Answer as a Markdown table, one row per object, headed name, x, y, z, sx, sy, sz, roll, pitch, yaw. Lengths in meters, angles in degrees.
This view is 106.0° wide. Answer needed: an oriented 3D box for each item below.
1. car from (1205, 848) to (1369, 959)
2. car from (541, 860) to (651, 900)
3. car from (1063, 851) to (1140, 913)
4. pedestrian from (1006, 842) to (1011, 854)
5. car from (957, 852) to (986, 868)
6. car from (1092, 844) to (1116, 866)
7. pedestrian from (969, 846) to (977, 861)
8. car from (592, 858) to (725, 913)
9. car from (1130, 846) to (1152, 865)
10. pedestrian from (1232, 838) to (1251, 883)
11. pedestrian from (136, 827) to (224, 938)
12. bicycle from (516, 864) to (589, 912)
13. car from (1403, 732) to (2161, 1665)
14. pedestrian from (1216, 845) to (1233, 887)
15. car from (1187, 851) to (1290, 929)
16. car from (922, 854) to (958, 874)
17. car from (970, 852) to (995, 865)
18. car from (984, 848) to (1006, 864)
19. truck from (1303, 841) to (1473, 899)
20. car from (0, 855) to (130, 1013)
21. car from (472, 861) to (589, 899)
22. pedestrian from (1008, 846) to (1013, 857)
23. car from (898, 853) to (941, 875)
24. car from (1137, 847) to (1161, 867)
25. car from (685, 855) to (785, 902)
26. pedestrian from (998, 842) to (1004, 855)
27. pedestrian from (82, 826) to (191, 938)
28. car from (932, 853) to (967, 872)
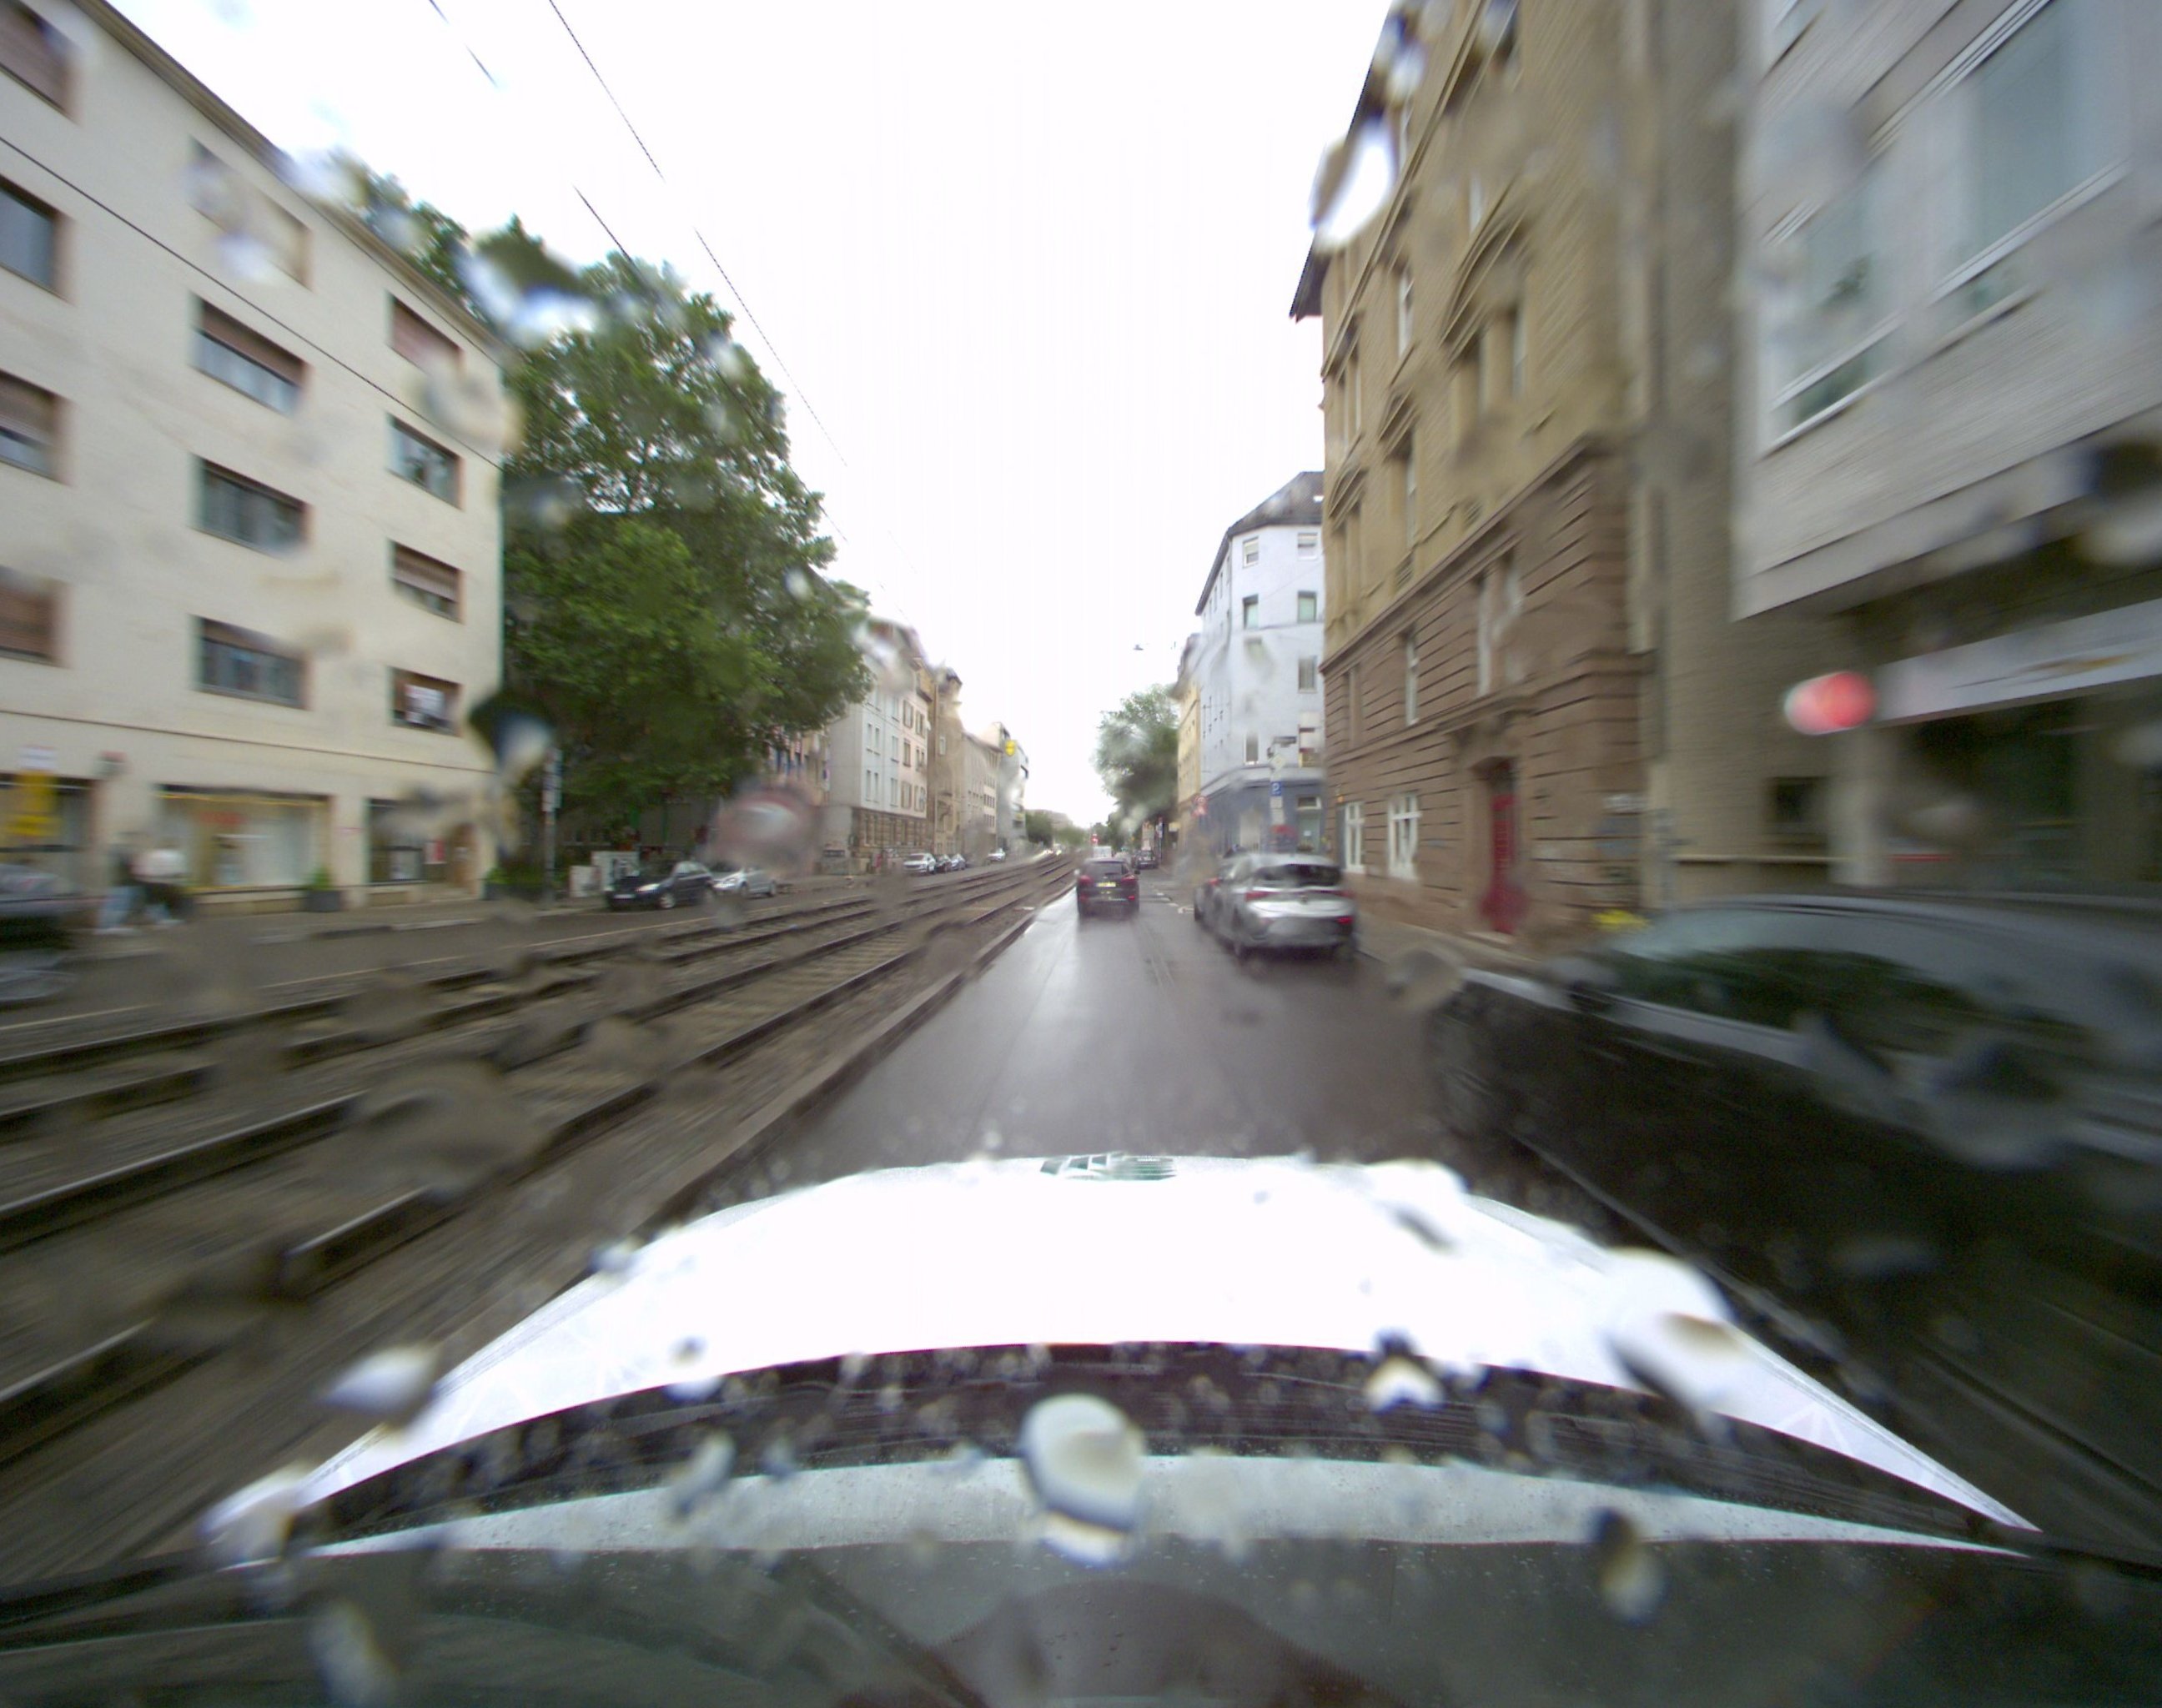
| name | x | y | z | sx | sy | sz | roll | pitch | yaw |
| --- | --- | --- | --- | --- | --- | --- | --- | --- | --- |
| car | 3.221 | 0.682 | 13.599 | 1.740 | 1.523 | 4.357 | 0 | 1 | 1 |
| car | -19.708 | 1.004 | 33.318 | 1.986 | 1.454 | 4.001 | -1 | 0 | 1 |
| car | 0.614 | 0.752 | 23.370 | 1.986 | 1.594 | 4.273 | -1 | -1 | 2 |
| pedestrian | -11.332 | -0.884 | 126.891 | 0.741 | 1.853 | 0.839 | -1 | -1 | 1 |
| car | -10.639 | 0.523 | 79.431 | 1.986 | 1.519 | 4.678 | 0 | 0 | 2 |
| car | 1.992 | 0.075 | 69.687 | 1.986 | 1.816 | 4.273 | -1 | -1 | 2 |
| pedestrian | -12.684 | -0.108 | 95.329 | 0.799 | 1.750 | 0.984 | 0 | 0 | 1 |
| car | -12.827 | 0.902 | 25.065 | 1.737 | 1.469 | 4.222 | -1 | 0 | 2 |
| car | 5.138 | 0.119 | 70.077 | 1.637 | 1.516 | 4.040 | 0 | 1 | 1 |
| pedestrian | 7.171 | 0.273 | 36.430 | 0.733 | 2.013 | 0.821 | 0 | 1 | 1 |
| pedestrian | -15.770 | 0.490 | 14.267 | 0.676 | 1.896 | 0.743 | 0 | 0 | 2 |
| bicycle | -14.351 | 0.896 | 22.209 | 0.590 | 1.226 | 2.399 | 0 | 0 | -5 |
| car | 2.890 | 0.590 | 2.705 | 1.986 | 1.594 | 4.574 | -1 | -1 | 2 |
| pedestrian | 6.402 | 0.542 | 36.350 | 0.659 | 1.852 | 0.821 | 0 | 1 | 1 |
| car | 3.431 | 0.714 | 18.431 | 1.713 | 1.516 | 4.262 | 0 | 1 | 3 |
| car | -11.074 | 0.740 | 64.368 | 1.986 | 1.519 | 4.211 | 0 | 0 | 2 |
| car | -10.411 | 0.443 | 86.219 | 1.986 | 1.376 | 4.240 | 0 | 0 | 2 |
| car | -10.221 | 0.176 | 97.252 | 1.987 | 1.839 | 5.070 | 0 | 0 | 0 |
| truck | 10.411 | 0.507 | 27.883 | 5.044 | 1.818 | 2.083 | -1 | 0 | -2 |
| car | -11.605 | 0.785 | 6.771 | 1.984 | 1.519 | 4.450 | 0 | 0 | 5 |
| car | -22.322 | 0.995 | 33.246 | 1.986 | 1.365 | 4.001 | -1 | 0 | 1 |
| pedestrian | -11.475 | -0.432 | 133.093 | 0.741 | 1.853 | 0.839 | -1 | -1 | 1 |
| car | -11.469 | 0.673 | 58.075 | 1.986 | 1.519 | 4.437 | 0 | 0 | 2 |
| car | 5.427 | 0.222 | 65.441 | 1.732 | 1.489 | 4.001 | 0 | 1 | 1 |
| car | -12.584 | 0.845 | 29.907 | 1.715 | 1.570 | 4.222 | 0 | 0 | 2 |
| pedestrian | -12.474 | -0.848 | 126.824 | 0.741 | 1.853 | 0.839 | -1 | -1 | 1 |
| pedestrian | -16.528 | 0.471 | 14.276 | 0.724 | 1.896 | 0.983 | 0 | 0 | 2 |
| car | -11.077 | 0.689 | 69.011 | 1.986 | 1.519 | 4.994 | 0 | 0 | 2 |
